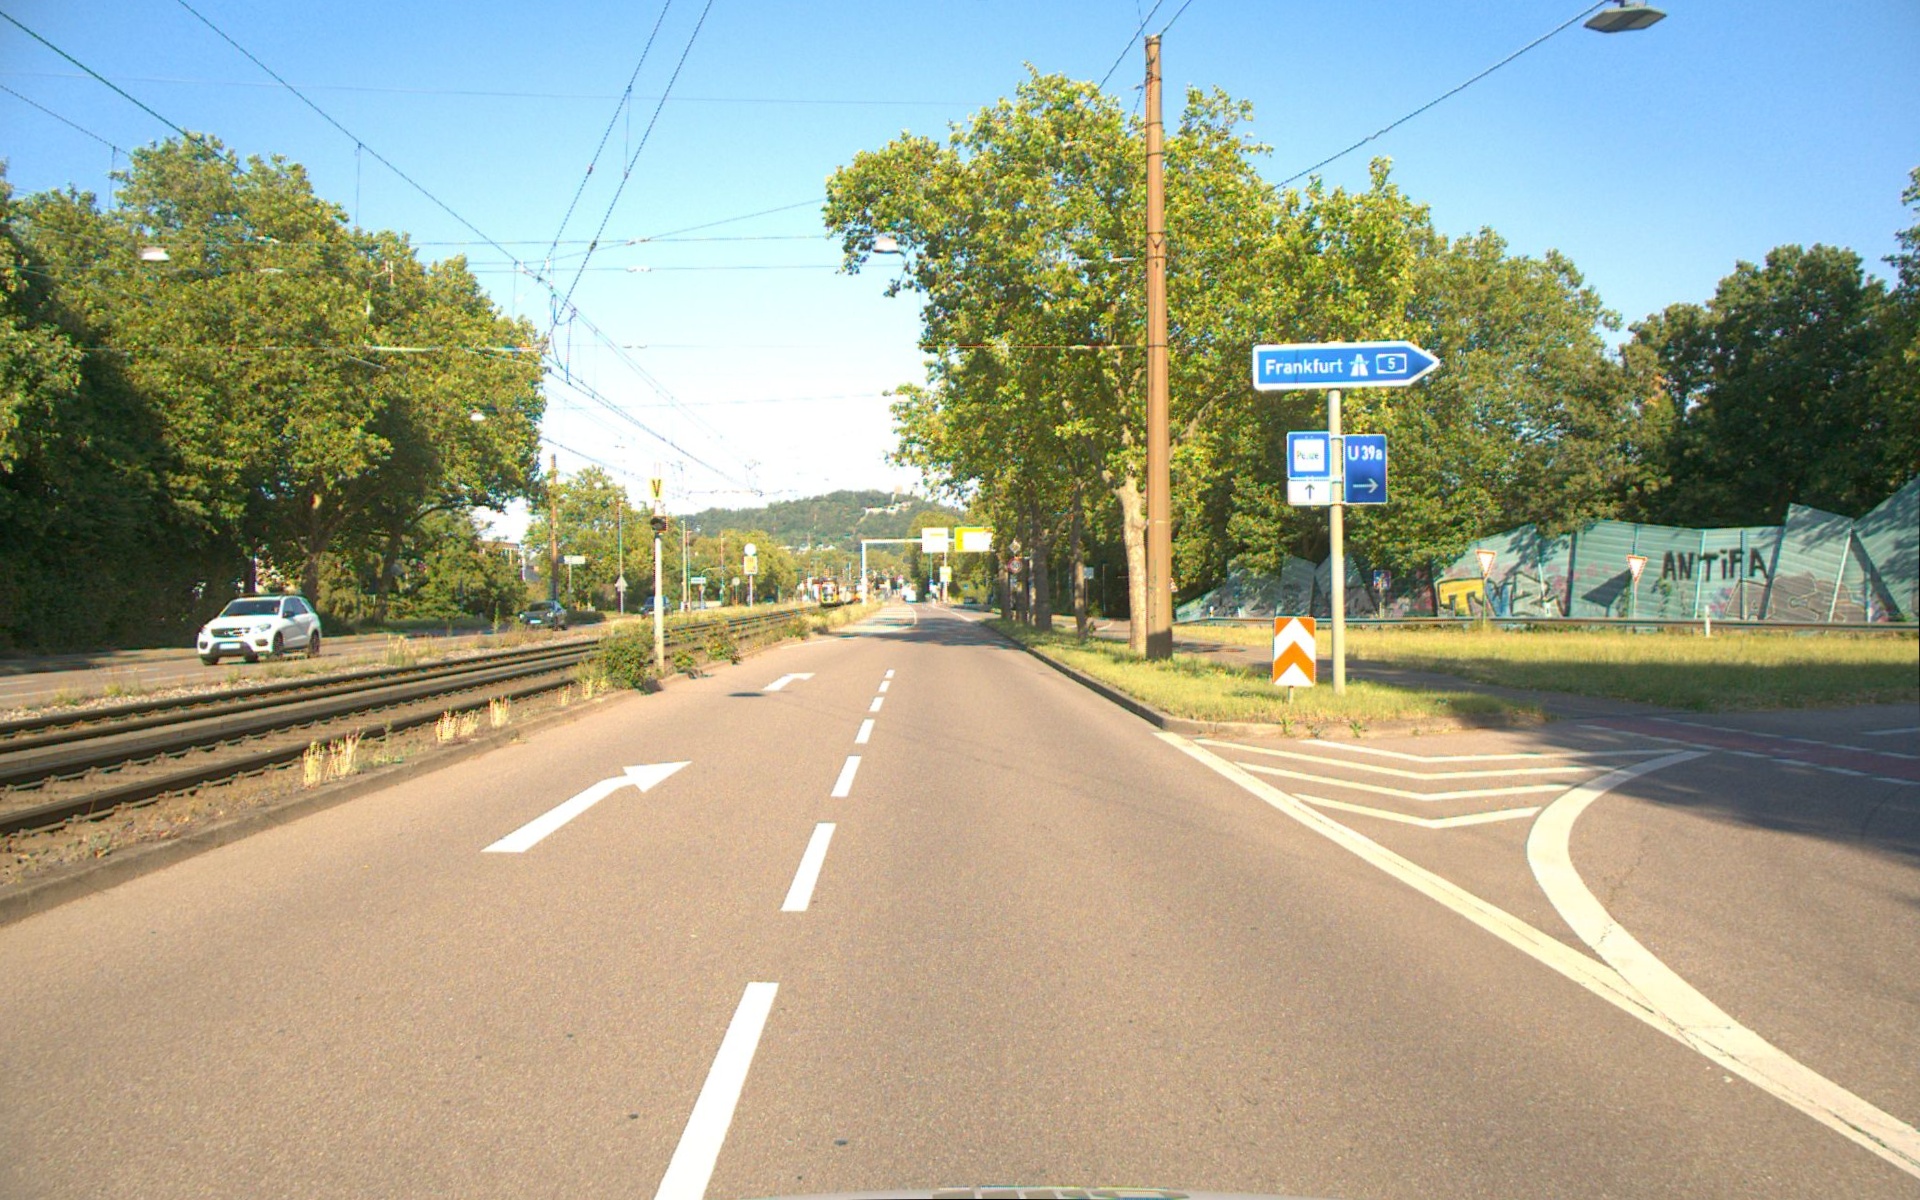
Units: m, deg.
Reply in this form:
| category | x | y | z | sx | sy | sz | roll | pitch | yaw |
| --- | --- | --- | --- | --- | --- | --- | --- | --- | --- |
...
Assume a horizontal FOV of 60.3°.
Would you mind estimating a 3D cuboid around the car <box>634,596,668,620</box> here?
| category | x | y | z | sx | sy | sz | roll | pitch | yaw |
| --- | --- | --- | --- | --- | --- | --- | --- | --- | --- |
| car | -23.025 | 0.588 | 123.305 | 1.861 | 1.724 | 4.937 | -2 | 0 | -4 |

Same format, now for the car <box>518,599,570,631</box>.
| category | x | y | z | sx | sy | sz | roll | pitch | yaw |
| --- | --- | --- | --- | --- | --- | --- | --- | --- | --- |
| car | -20.971 | 0.723 | 83.522 | 1.677 | 1.493 | 4.344 | -3 | 0 | -3 |

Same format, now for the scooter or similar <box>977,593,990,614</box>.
| category | x | y | z | sx | sy | sz | roll | pitch | yaw |
| --- | --- | --- | --- | --- | --- | --- | --- | --- | --- |
| scooter or similar | 3.197 | 0.461 | 226.528 | 1.647 | 2.763 | 4.867 | 0 | 0 | -2 |

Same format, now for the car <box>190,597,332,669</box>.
| category | x | y | z | sx | sy | sz | roll | pitch | yaw |
| --- | --- | --- | --- | --- | --- | --- | --- | --- | --- |
| car | -18.715 | 0.841 | 44.538 | 1.924 | 1.737 | 4.940 | -3 | 0 | -4 |

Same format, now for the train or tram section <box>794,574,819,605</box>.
| category | x | y | z | sx | sy | sz | roll | pitch | yaw |
| --- | --- | --- | --- | --- | --- | --- | --- | --- | --- |
| train or tram section | -20.585 | -1.393 | 222.783 | 2.748 | 3.971 | 12.325 | 0 | 0 | -3 |

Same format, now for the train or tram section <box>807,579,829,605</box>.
| category | x | y | z | sx | sy | sz | roll | pitch | yaw |
| --- | --- | --- | --- | --- | --- | --- | --- | --- | --- |
| train or tram section | -22.298 | -1.240 | 259.853 | 2.767 | 4.020 | 12.701 | 0 | 0 | -2 |
